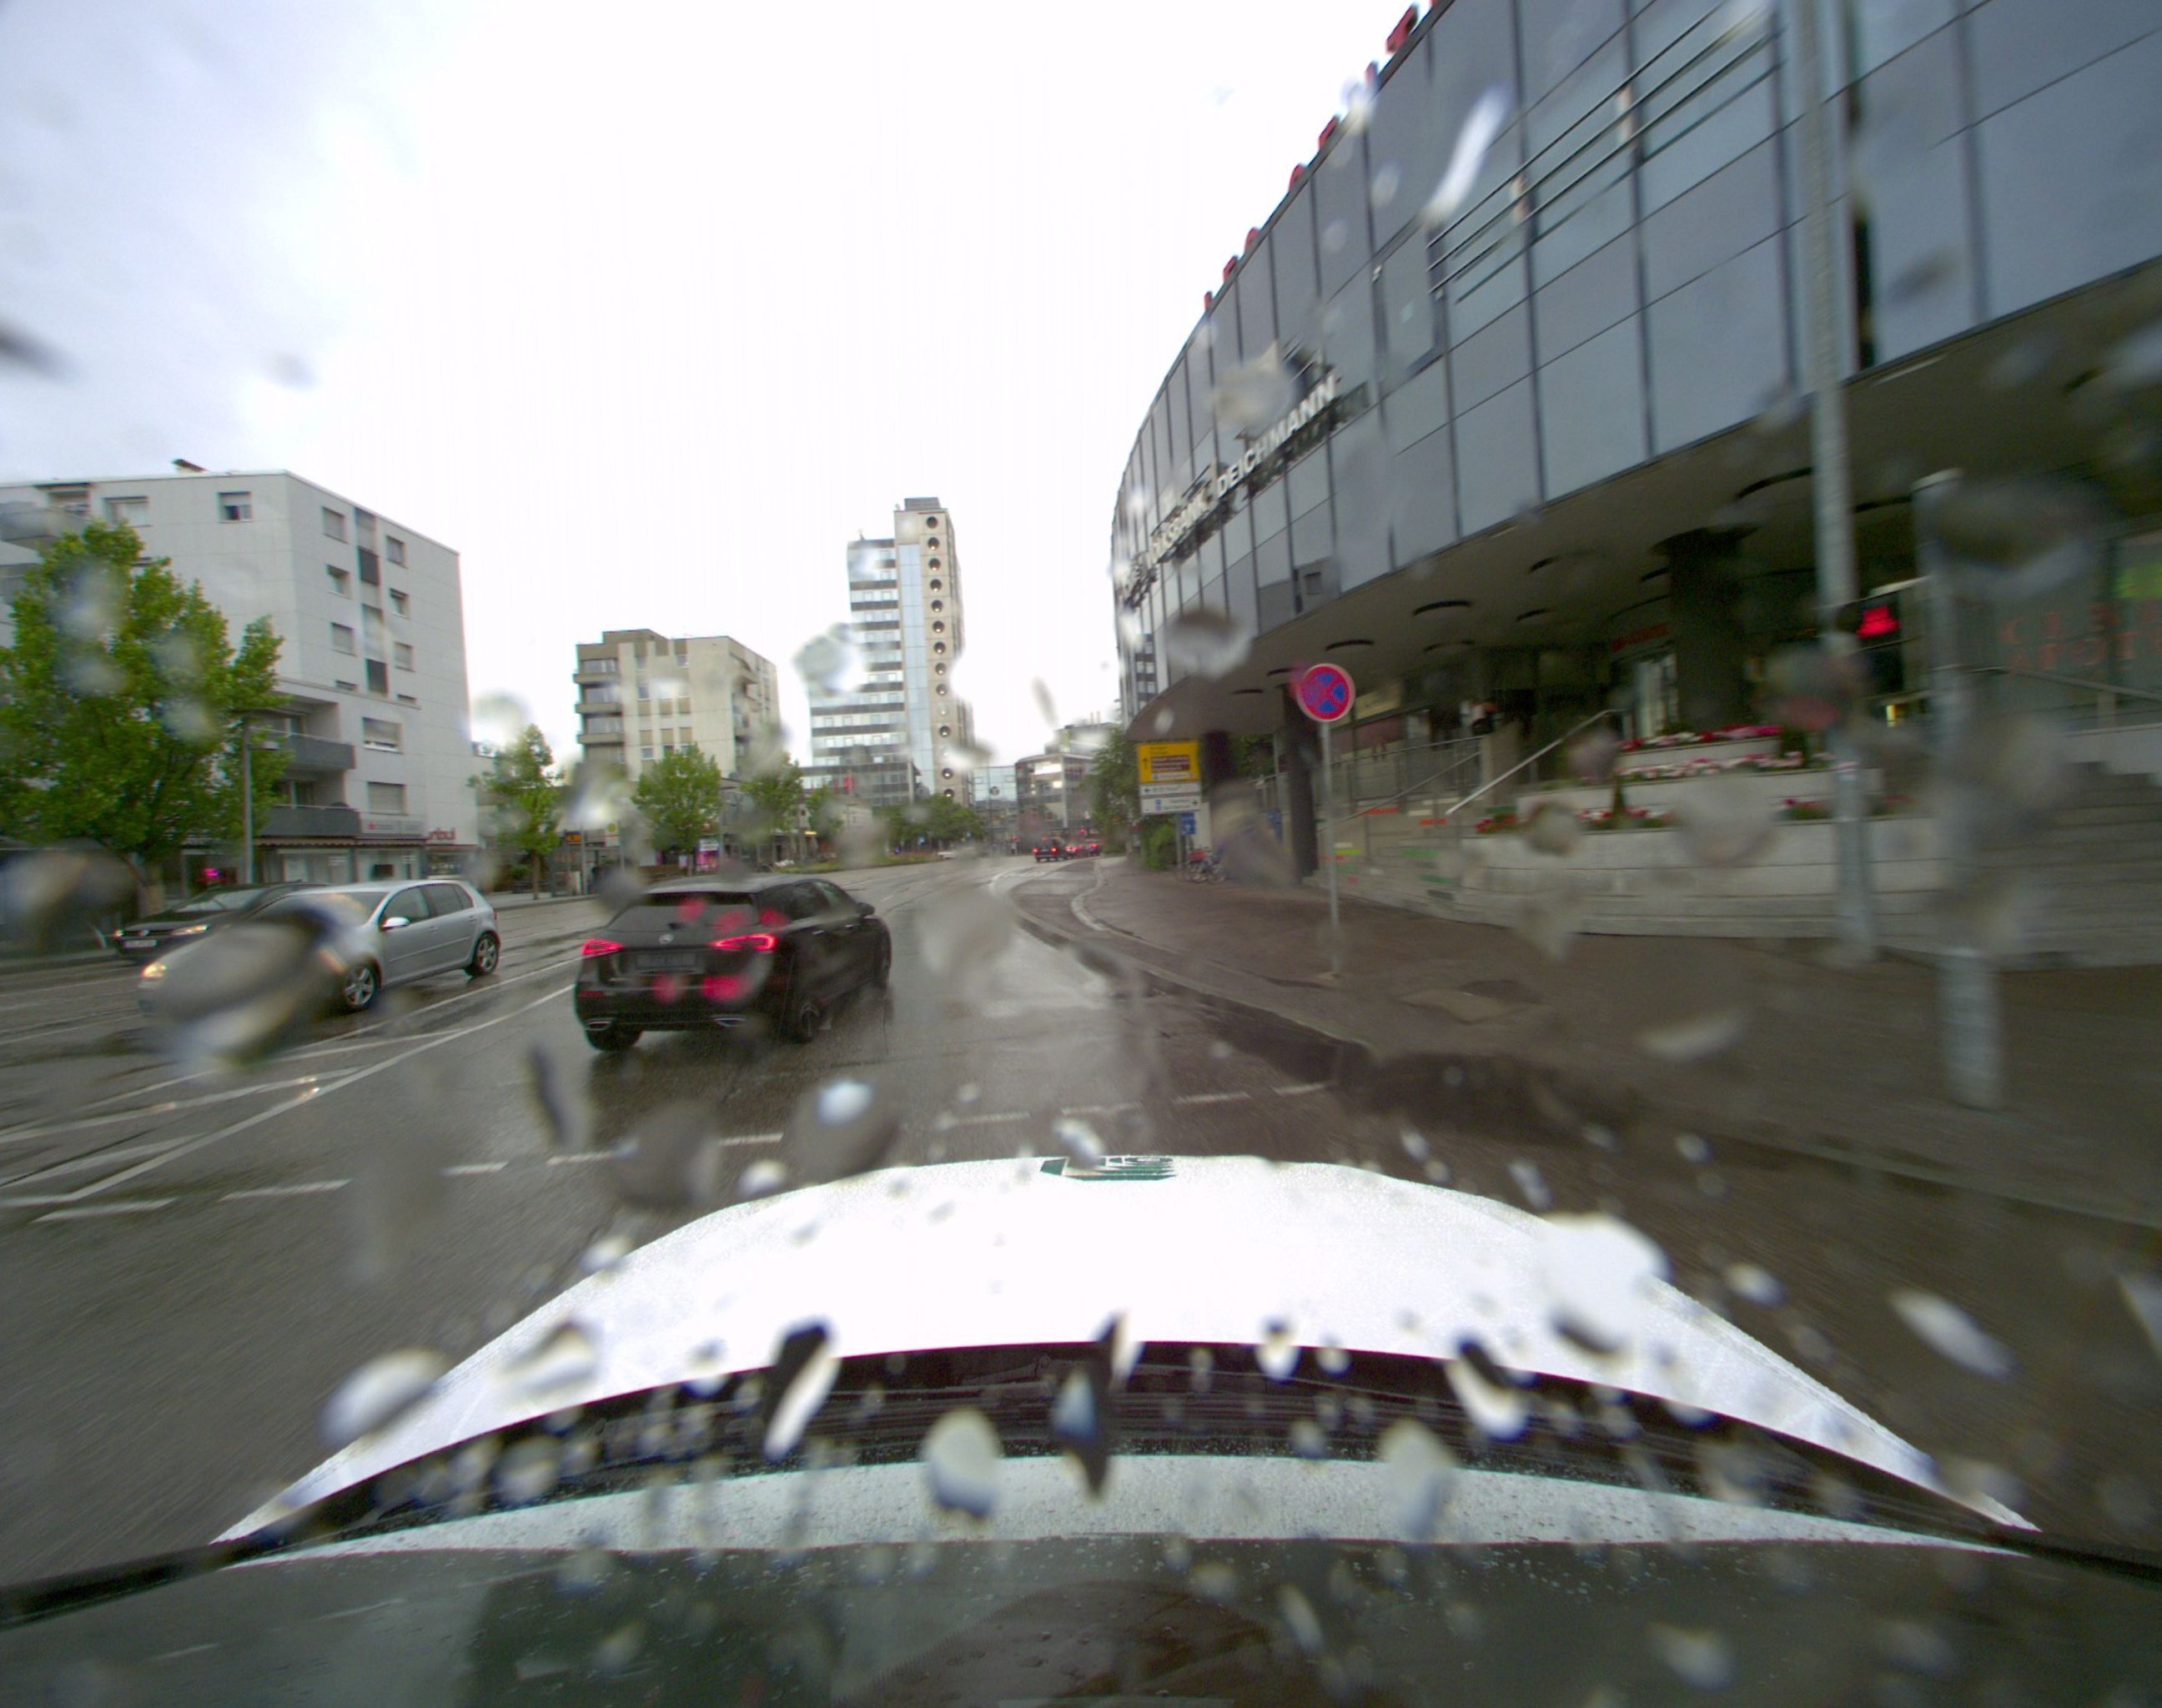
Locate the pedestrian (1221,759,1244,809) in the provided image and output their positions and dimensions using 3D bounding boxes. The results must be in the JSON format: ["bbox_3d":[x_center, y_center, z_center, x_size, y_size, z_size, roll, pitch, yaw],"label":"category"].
[{"bbox_3d":[5.406,-2.492,29.168,0.650,1.713,0.600,-3,2,0],"label":"pedestrian"}]

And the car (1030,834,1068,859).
[{"bbox_3d":[-2.676,-0.677,68.790,2.028,1.895,4.155,-3,2,13],"label":"car"}]

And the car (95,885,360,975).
[{"bbox_3d":[-16.867,1.418,16.395,1.433,1.297,3.772,-3,1,-4],"label":"car"}]

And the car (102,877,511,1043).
[{"bbox_3d":[-9.415,1.146,10.463,1.740,1.441,3.981,-4,1,-8],"label":"car"}]

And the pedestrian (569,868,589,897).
[{"bbox_3d":[-26.400,1.500,42.852,0.634,1.470,0.634,-4,1,-10],"label":"pedestrian"}]

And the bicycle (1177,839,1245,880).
[{"bbox_3d":[3.906,0.161,24.510,1.846,1.033,0.628,-6,0,-5],"label":"bicycle"}]

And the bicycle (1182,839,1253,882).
[{"bbox_3d":[3.974,0.180,23.755,1.846,1.042,0.646,-6,0,-5],"label":"bicycle"}]

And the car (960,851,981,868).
[{"bbox_3d":[-12.269,0.586,90.815,1.686,1.631,3.513,-3,2,1],"label":"car"}]

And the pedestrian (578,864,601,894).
[{"bbox_3d":[-26.399,1.341,43.727,0.794,1.571,0.634,-4,1,-11],"label":"pedestrian"}]

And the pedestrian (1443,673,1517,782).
[{"bbox_3d":[7.819,-2.463,15.977,0.951,2.013,0.828,-3,2,-14],"label":"pedestrian"}]

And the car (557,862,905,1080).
[{"bbox_3d":[-3.086,0.901,8.201,1.657,1.481,4.093,-3,0,0],"label":"car"}]

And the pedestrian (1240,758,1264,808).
[{"bbox_3d":[6.108,-2.522,29.088,0.650,1.713,0.600,-3,2,0],"label":"pedestrian"}]

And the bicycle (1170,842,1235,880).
[{"bbox_3d":[3.758,0.216,25.244,1.844,0.951,0.536,-6,2,-2],"label":"bicycle"}]

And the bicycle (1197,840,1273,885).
[{"bbox_3d":[4.185,0.232,22.141,1.846,1.023,0.631,-6,0,-5],"label":"bicycle"}]

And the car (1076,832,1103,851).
[{"bbox_3d":[0.894,-1.243,82.457,1.897,1.724,3.822,-3,2,12],"label":"car"}]

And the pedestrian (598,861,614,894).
[{"bbox_3d":[-25.698,1.254,44.079,0.486,1.718,0.537,-4,1,-7],"label":"pedestrian"}]

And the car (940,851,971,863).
[{"bbox_3d":[-17.422,0.421,113.086,3.981,1.384,1.725,-4,2,-6],"label":"car"}]

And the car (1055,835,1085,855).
[{"bbox_3d":[-0.978,-0.881,75.870,1.874,1.671,4.014,-3,2,12],"label":"car"}]
